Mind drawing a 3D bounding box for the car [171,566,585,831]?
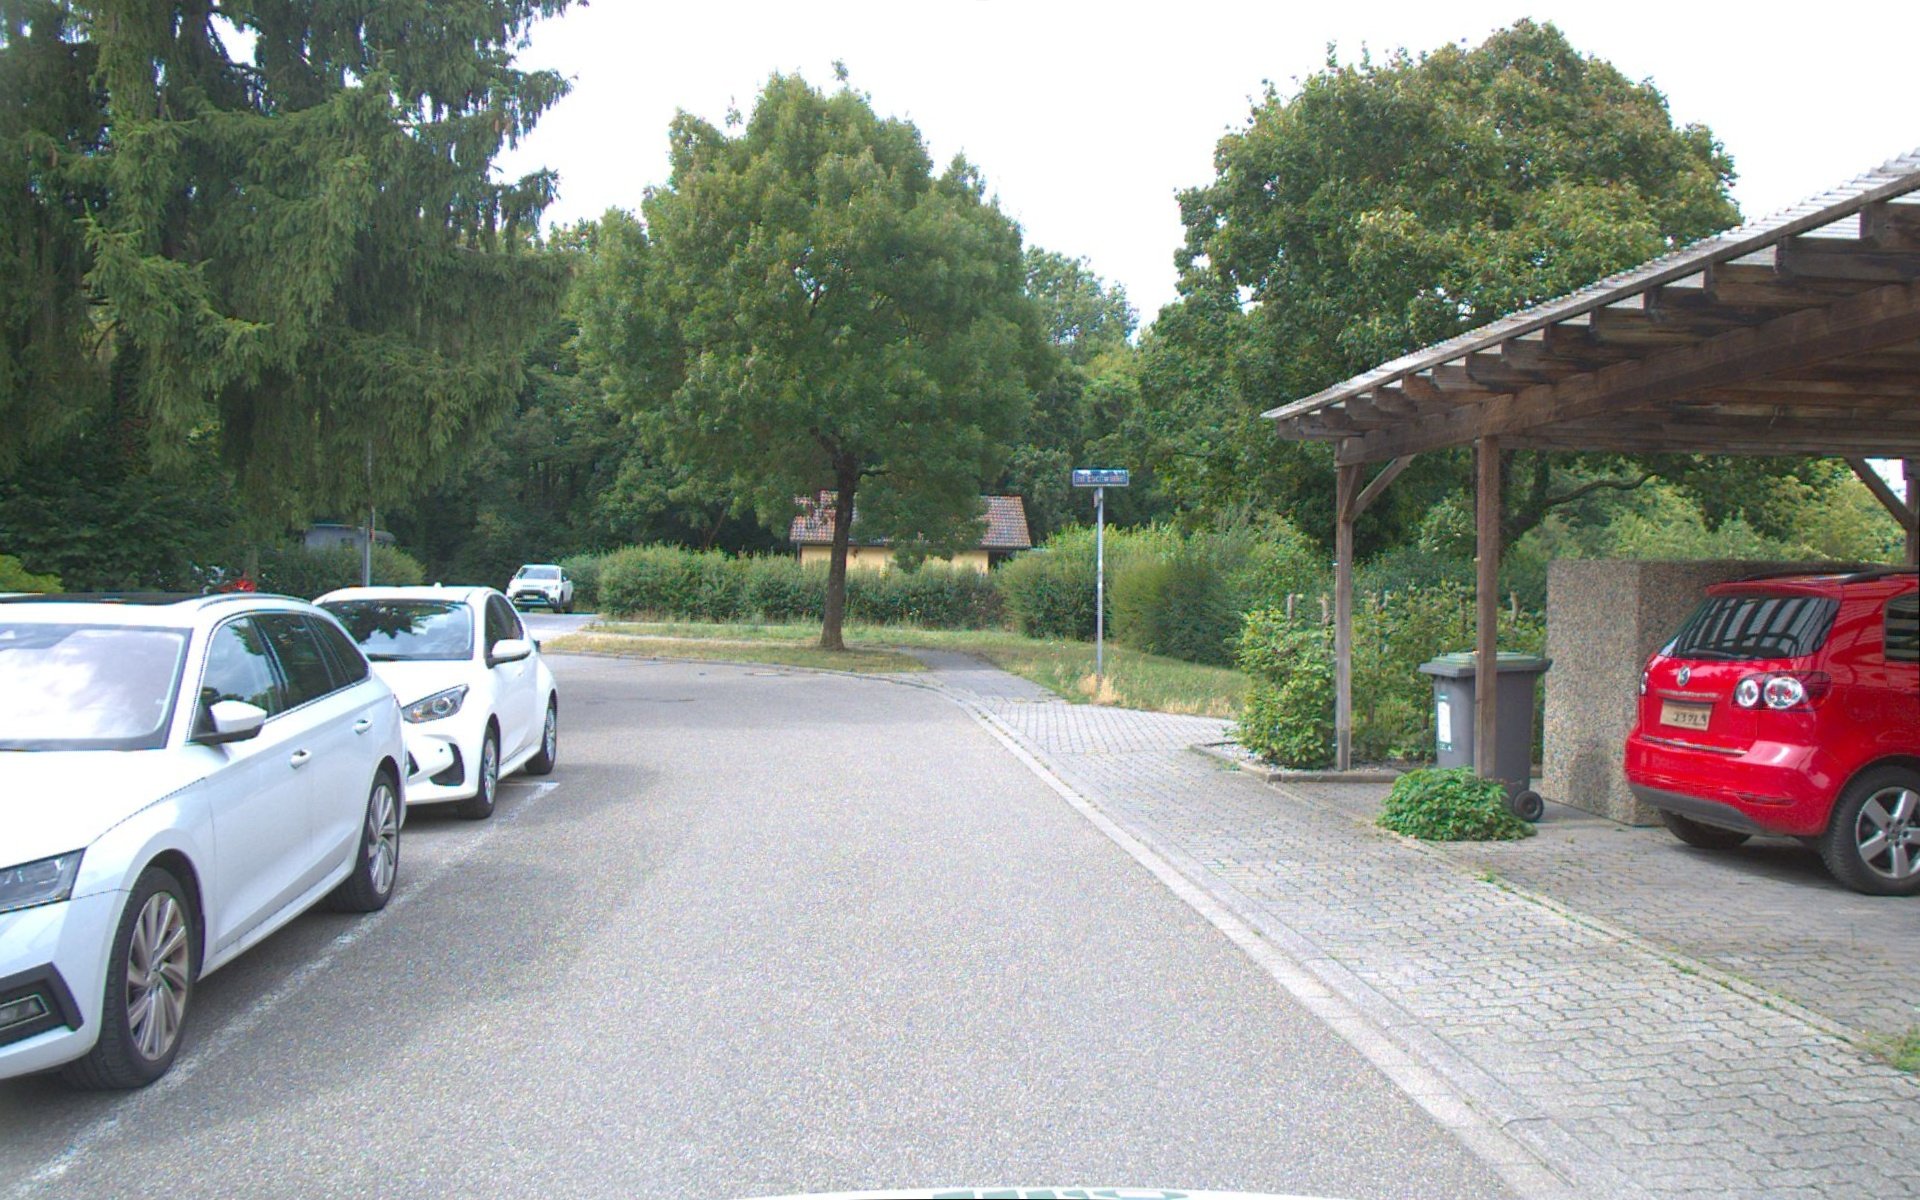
[{"bbox_3d":[-3.902,0.567,11.847,1.756,1.558,4.136,0,0,-4],"label":"car"}]

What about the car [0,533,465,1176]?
[{"bbox_3d":[-3.346,0.602,6.421,1.775,1.589,4.843,0,0,-5],"label":"car"}]

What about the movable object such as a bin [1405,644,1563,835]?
[{"bbox_3d":[3.191,0.831,10.122,0.686,1.091,0.710,0,0,-8],"label":"movable object such as a bin"}]

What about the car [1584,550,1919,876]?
[{"bbox_3d":[5.725,0.546,9.123,3.882,1.567,1.836,0,0,-8],"label":"car"}]

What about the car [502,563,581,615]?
[{"bbox_3d":[-14.337,-0.379,56.859,1.899,1.689,4.337,1,0,-4],"label":"car"}]

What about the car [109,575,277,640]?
[{"bbox_3d":[-17.004,0.139,36.933,1.955,1.313,4.687,1,0,-6],"label":"car"}]
